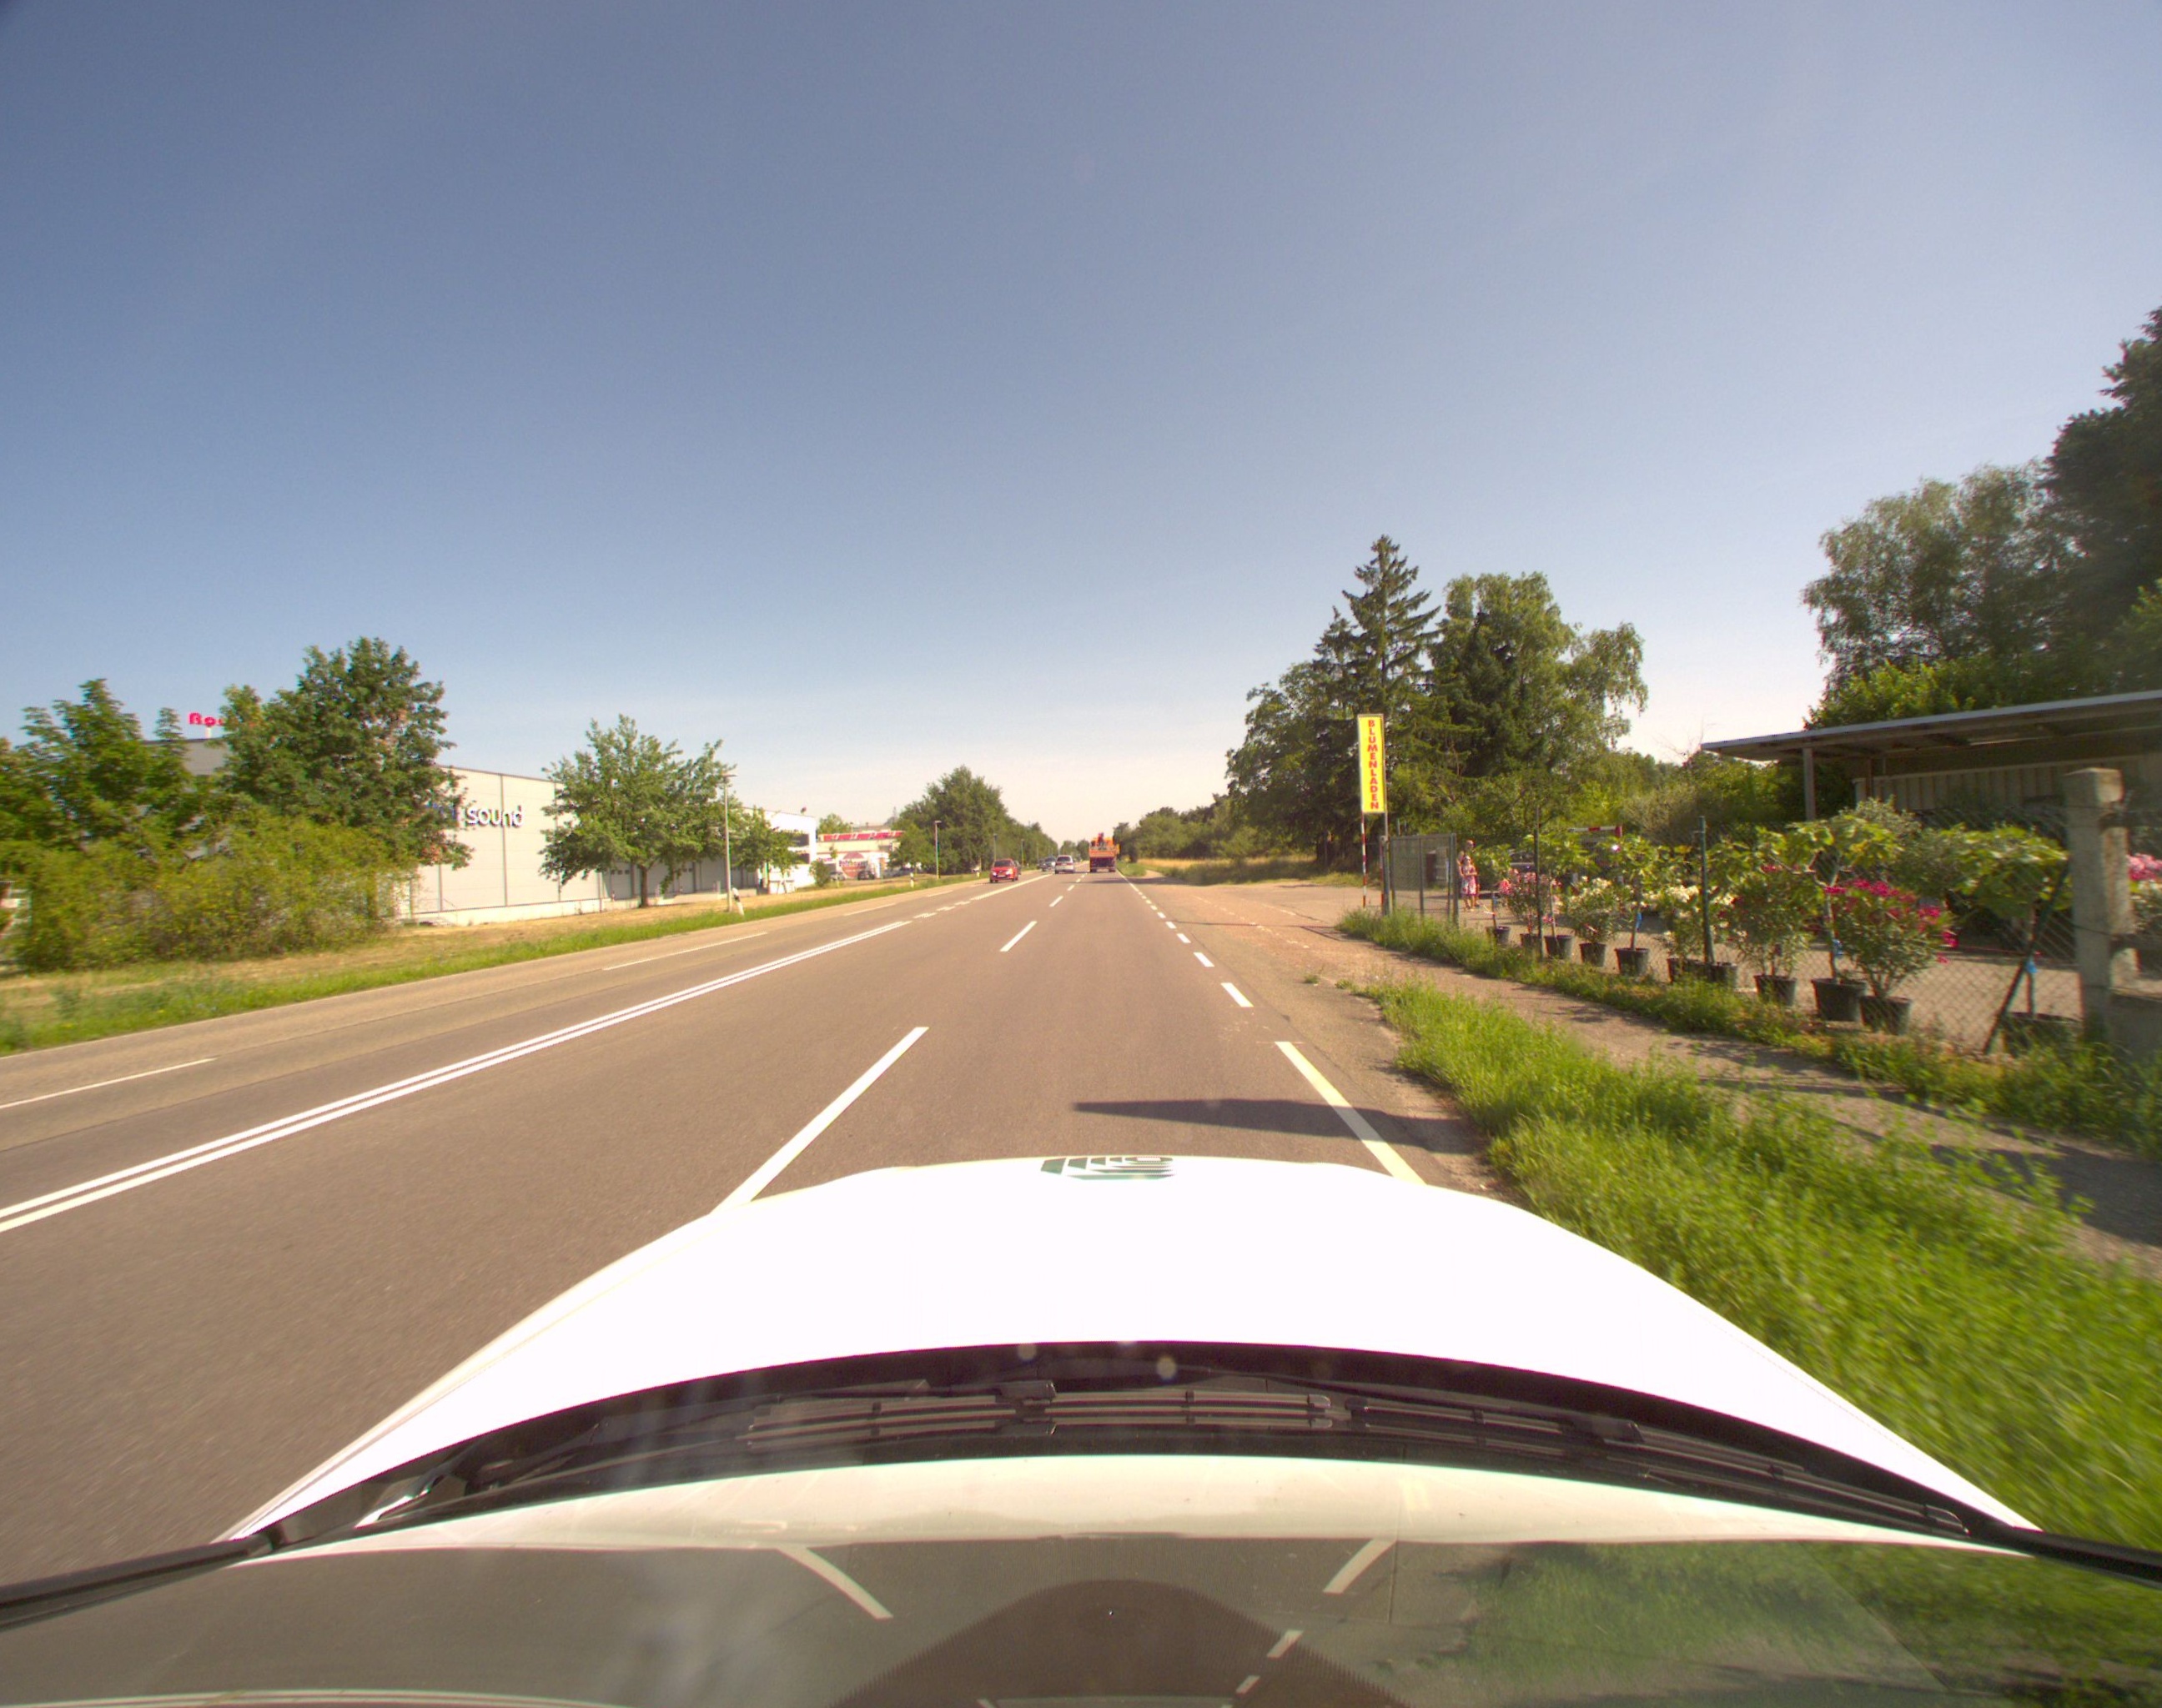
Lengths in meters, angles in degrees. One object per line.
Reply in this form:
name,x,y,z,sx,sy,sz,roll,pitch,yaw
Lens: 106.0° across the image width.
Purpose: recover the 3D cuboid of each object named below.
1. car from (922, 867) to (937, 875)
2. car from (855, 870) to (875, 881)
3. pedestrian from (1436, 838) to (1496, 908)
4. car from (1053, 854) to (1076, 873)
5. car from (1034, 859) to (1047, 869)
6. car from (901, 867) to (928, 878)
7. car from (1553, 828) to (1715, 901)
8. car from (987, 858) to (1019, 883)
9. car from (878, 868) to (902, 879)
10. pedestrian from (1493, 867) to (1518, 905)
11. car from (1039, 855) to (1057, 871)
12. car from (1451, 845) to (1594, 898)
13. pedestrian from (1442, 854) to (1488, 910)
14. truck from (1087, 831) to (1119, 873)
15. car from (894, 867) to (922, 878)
car,-27.280,3.099,146.639,1.782,1.349,4.661,-4,-1,-1
car,-30.737,3.070,115.911,1.630,1.390,3.723,-3,-1,1
pedestrian,10.185,0.500,21.566,0.942,1.786,1.087,-2,-1,-41
car,-1.484,0.871,75.351,1.987,1.583,4.000,-2,0,0
car,-6.276,1.592,127.989,1.723,1.561,4.216,0,0,1
car,-26.676,3.018,130.625,3.973,1.501,1.758,-3,-1,1
car,15.579,0.257,22.909,4.475,1.803,1.847,-2,0,-28
car,-5.275,1.115,55.620,1.644,1.497,3.845,-5,0,1
car,-28.886,2.954,123.318,1.750,1.501,3.951,-3,-1,-42
pedestrian,11.177,0.835,21.450,0.341,0.984,0.465,-2,-1,-41
car,-3.947,1.080,98.897,1.765,1.714,4.570,-4,0,1
car,13.832,0.506,25.475,4.475,1.430,1.700,-2,0,-28
pedestrian,9.629,0.688,20.408,0.830,1.338,0.716,-2,-1,-41
truck,2.085,-0.156,79.626,2.863,3.880,7.396,-1,-1,-1
car,-26.879,2.898,126.534,3.973,1.501,1.758,-3,-1,1
